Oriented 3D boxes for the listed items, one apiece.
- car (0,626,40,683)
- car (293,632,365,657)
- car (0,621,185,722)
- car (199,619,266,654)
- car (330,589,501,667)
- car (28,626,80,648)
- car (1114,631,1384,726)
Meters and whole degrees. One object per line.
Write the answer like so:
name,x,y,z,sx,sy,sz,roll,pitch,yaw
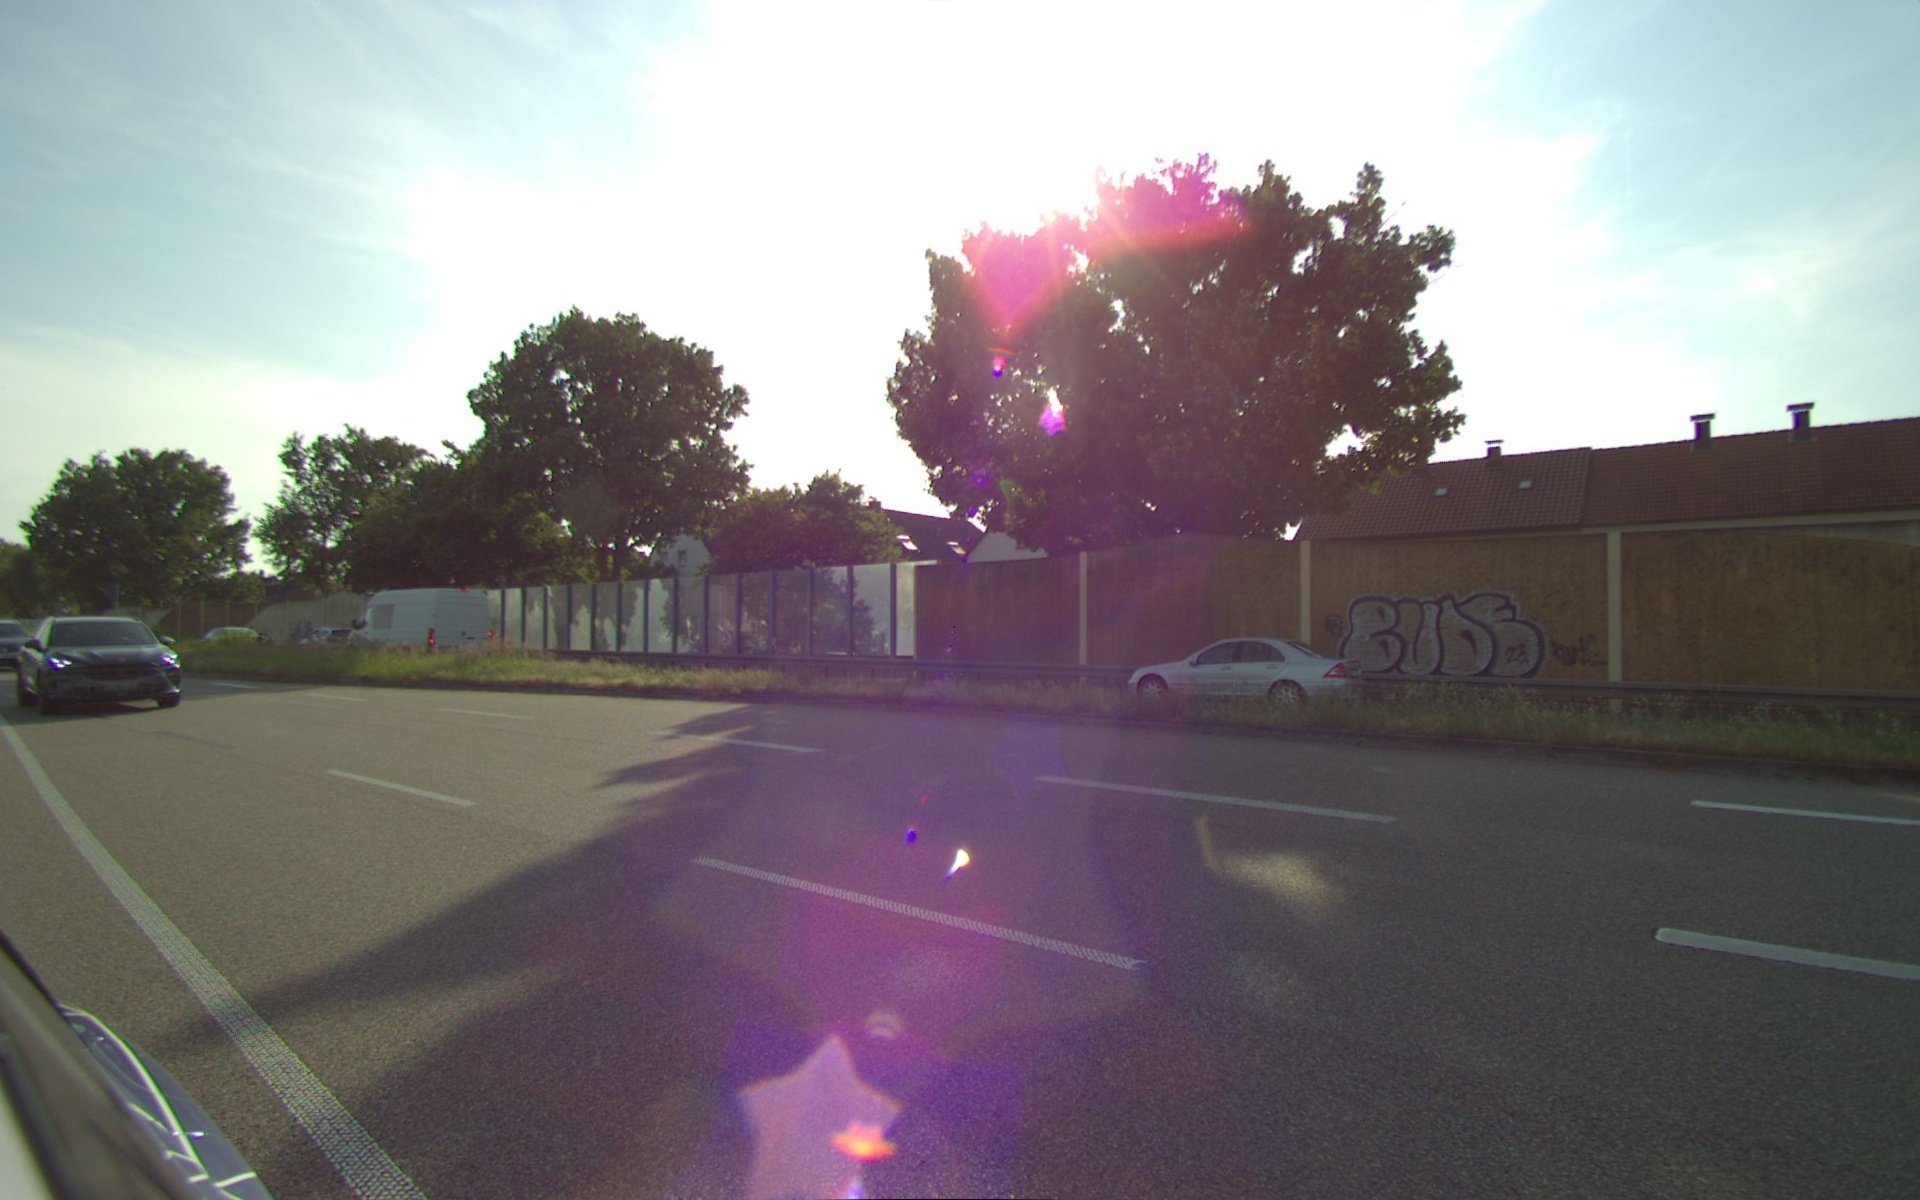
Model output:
car,-31.565,1.763,32.995,3.996,1.747,1.800,-2,-1,40
car,-30.149,2.103,48.290,4.409,1.113,1.651,-2,-1,40
car,-15.337,1.182,17.809,4.242,1.537,1.799,-2,-1,40
car,-32.524,1.632,45.213,3.565,1.453,1.632,-2,-1,40
car,-17.972,0.908,33.193,7.182,2.321,2.325,-2,-1,39
car,-64.192,2.605,71.689,5.053,1.495,1.962,-2,-1,39
car,5.433,1.423,19.439,4.708,1.579,1.635,-2,-1,40
